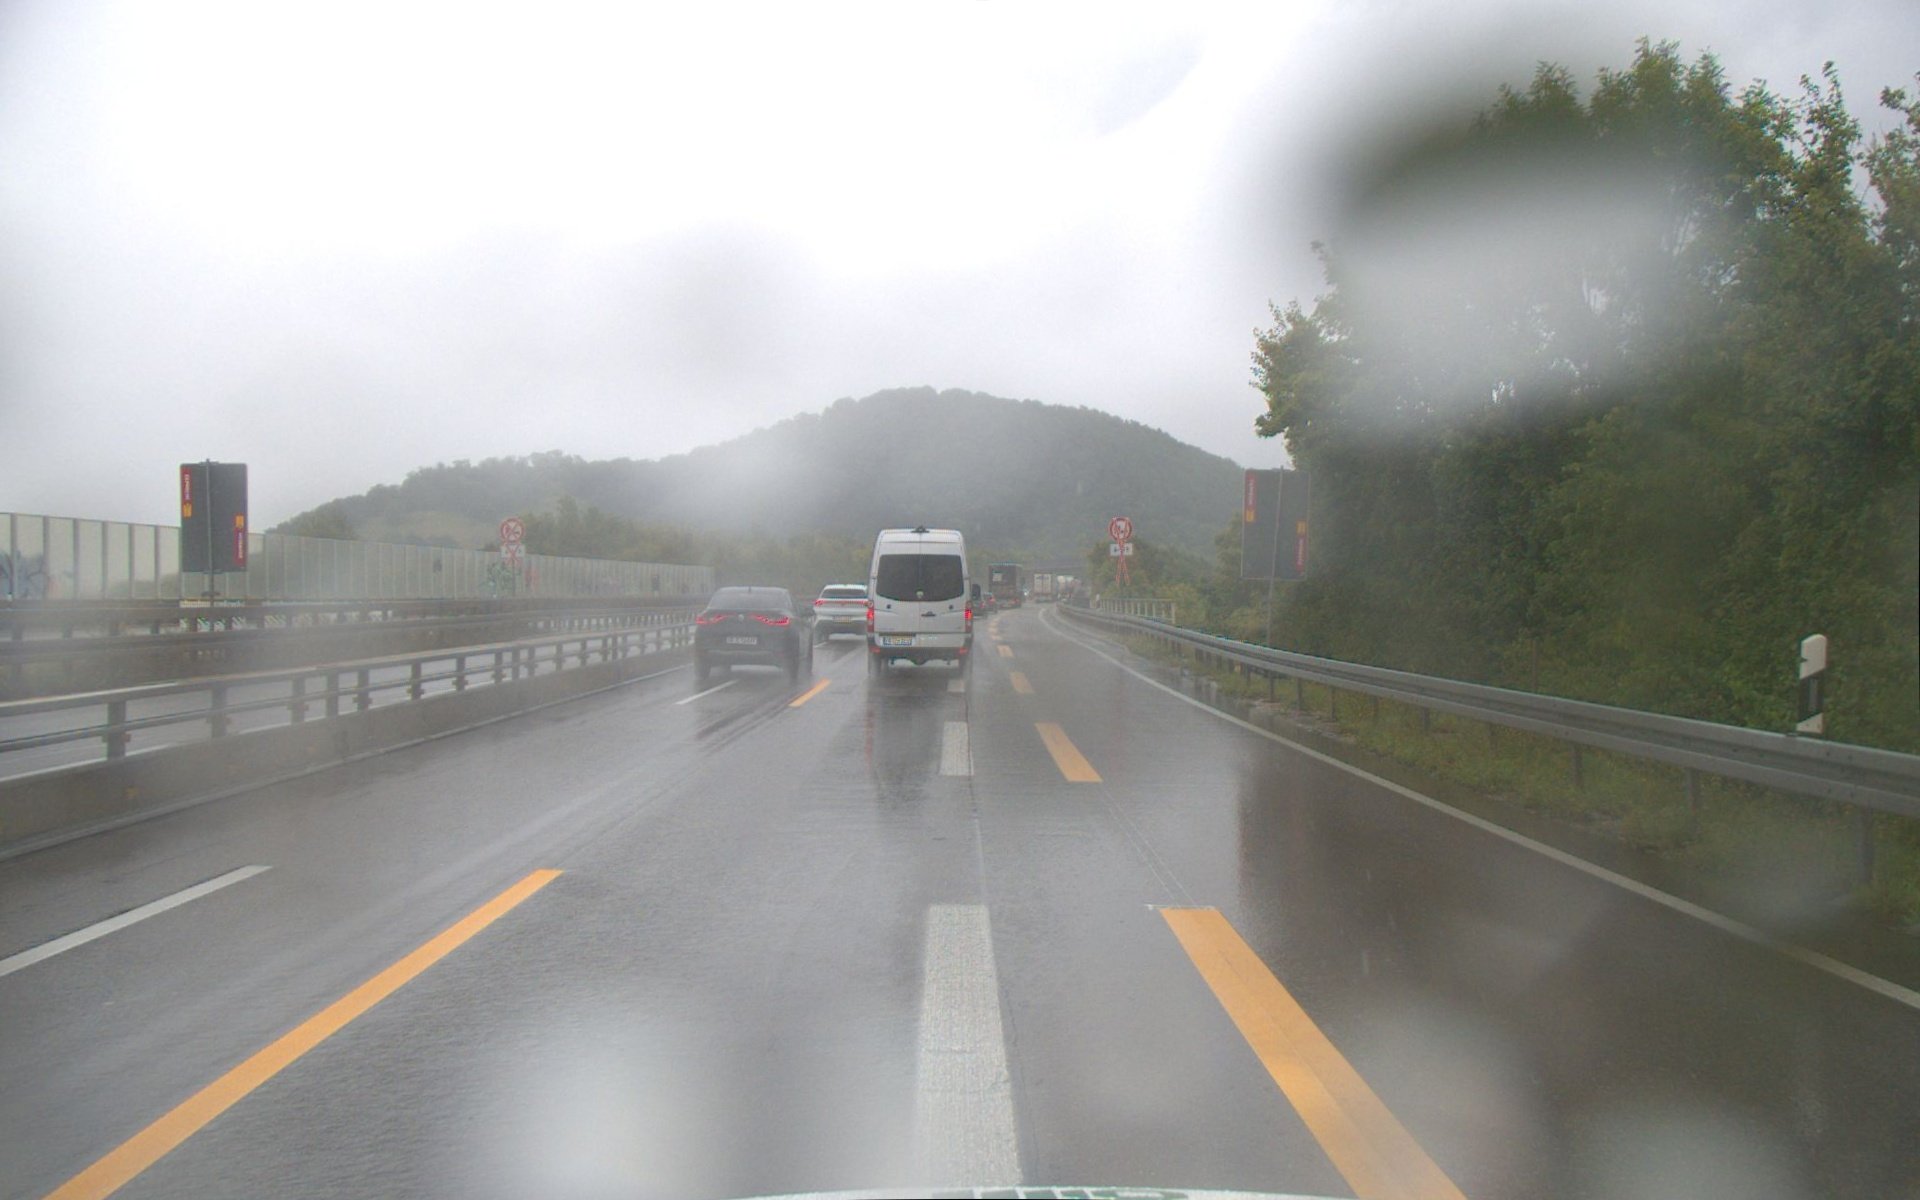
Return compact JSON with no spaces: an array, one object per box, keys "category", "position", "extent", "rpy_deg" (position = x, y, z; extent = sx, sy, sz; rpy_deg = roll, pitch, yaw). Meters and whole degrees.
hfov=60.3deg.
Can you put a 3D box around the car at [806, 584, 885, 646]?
[{"category":"car","position":[-3.238,0.413,47.617],"extent":[1.953,1.646,4.795],"rpy_deg":[1,0,-1]}]

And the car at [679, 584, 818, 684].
[{"category":"car","position":[-3.718,0.572,29.781],"extent":[1.953,1.613,4.412],"rpy_deg":[1,0,-1]}]

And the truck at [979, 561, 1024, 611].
[{"category":"truck","position":[3.941,-1.283,155.421],"extent":[3.506,4.483,9.629],"rpy_deg":[1,0,5]}]

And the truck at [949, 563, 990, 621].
[{"category":"truck","position":[0.601,-0.424,95.521],"extent":[1.952,3.163,8.501],"rpy_deg":[1,0,2]}]

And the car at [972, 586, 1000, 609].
[{"category":"car","position":[1.821,-0.158,114.911],"extent":[1.737,1.501,4.001],"rpy_deg":[1,0,3]}]

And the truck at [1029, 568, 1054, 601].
[{"category":"truck","position":[11.477,-2.092,232.688],"extent":[2.972,4.483,9.629],"rpy_deg":[1,0,5]}]

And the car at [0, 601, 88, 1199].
[{"category":"car","position":[-3.291,0.741,2.039],"extent":[1.953,1.524,4.630],"rpy_deg":[1,0,0]}]

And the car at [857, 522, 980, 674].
[{"category":"car","position":[-0.778,-0.020,31.670],"extent":[2.101,2.616,5.388],"rpy_deg":[1,0,-1]}]
